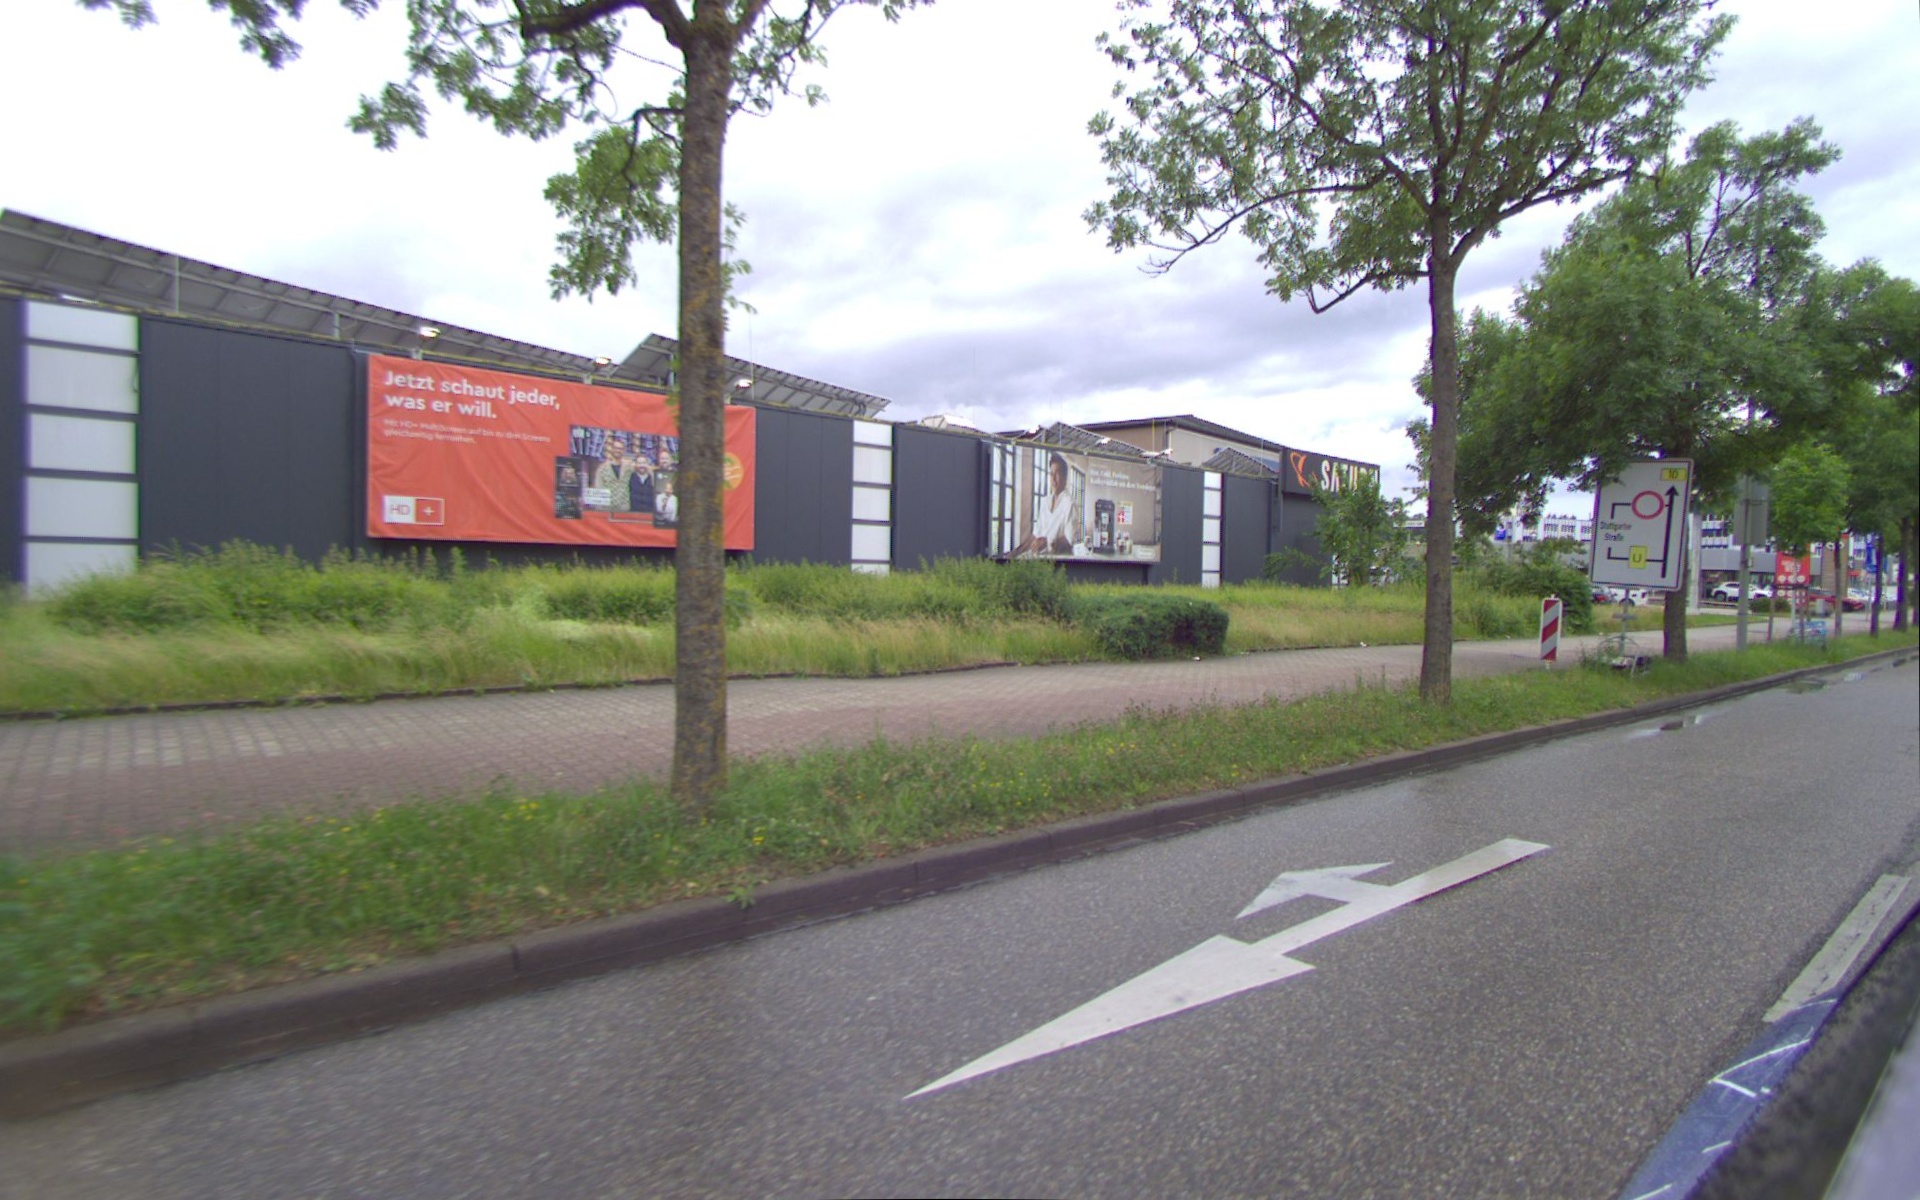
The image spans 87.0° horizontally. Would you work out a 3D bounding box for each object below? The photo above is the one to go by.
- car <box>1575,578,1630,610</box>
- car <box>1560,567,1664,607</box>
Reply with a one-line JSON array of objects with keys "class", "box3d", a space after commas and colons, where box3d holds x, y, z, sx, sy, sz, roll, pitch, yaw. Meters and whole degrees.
[{"class": "car", "box3d": [31.230, -0.308, 49.137, 1.747, 1.430, 4.078, 4, 3, 39]}, {"class": "car", "box3d": [38.177, -0.799, 59.335, 4.939, 2.038, 1.973, 4, 3, 38]}]
